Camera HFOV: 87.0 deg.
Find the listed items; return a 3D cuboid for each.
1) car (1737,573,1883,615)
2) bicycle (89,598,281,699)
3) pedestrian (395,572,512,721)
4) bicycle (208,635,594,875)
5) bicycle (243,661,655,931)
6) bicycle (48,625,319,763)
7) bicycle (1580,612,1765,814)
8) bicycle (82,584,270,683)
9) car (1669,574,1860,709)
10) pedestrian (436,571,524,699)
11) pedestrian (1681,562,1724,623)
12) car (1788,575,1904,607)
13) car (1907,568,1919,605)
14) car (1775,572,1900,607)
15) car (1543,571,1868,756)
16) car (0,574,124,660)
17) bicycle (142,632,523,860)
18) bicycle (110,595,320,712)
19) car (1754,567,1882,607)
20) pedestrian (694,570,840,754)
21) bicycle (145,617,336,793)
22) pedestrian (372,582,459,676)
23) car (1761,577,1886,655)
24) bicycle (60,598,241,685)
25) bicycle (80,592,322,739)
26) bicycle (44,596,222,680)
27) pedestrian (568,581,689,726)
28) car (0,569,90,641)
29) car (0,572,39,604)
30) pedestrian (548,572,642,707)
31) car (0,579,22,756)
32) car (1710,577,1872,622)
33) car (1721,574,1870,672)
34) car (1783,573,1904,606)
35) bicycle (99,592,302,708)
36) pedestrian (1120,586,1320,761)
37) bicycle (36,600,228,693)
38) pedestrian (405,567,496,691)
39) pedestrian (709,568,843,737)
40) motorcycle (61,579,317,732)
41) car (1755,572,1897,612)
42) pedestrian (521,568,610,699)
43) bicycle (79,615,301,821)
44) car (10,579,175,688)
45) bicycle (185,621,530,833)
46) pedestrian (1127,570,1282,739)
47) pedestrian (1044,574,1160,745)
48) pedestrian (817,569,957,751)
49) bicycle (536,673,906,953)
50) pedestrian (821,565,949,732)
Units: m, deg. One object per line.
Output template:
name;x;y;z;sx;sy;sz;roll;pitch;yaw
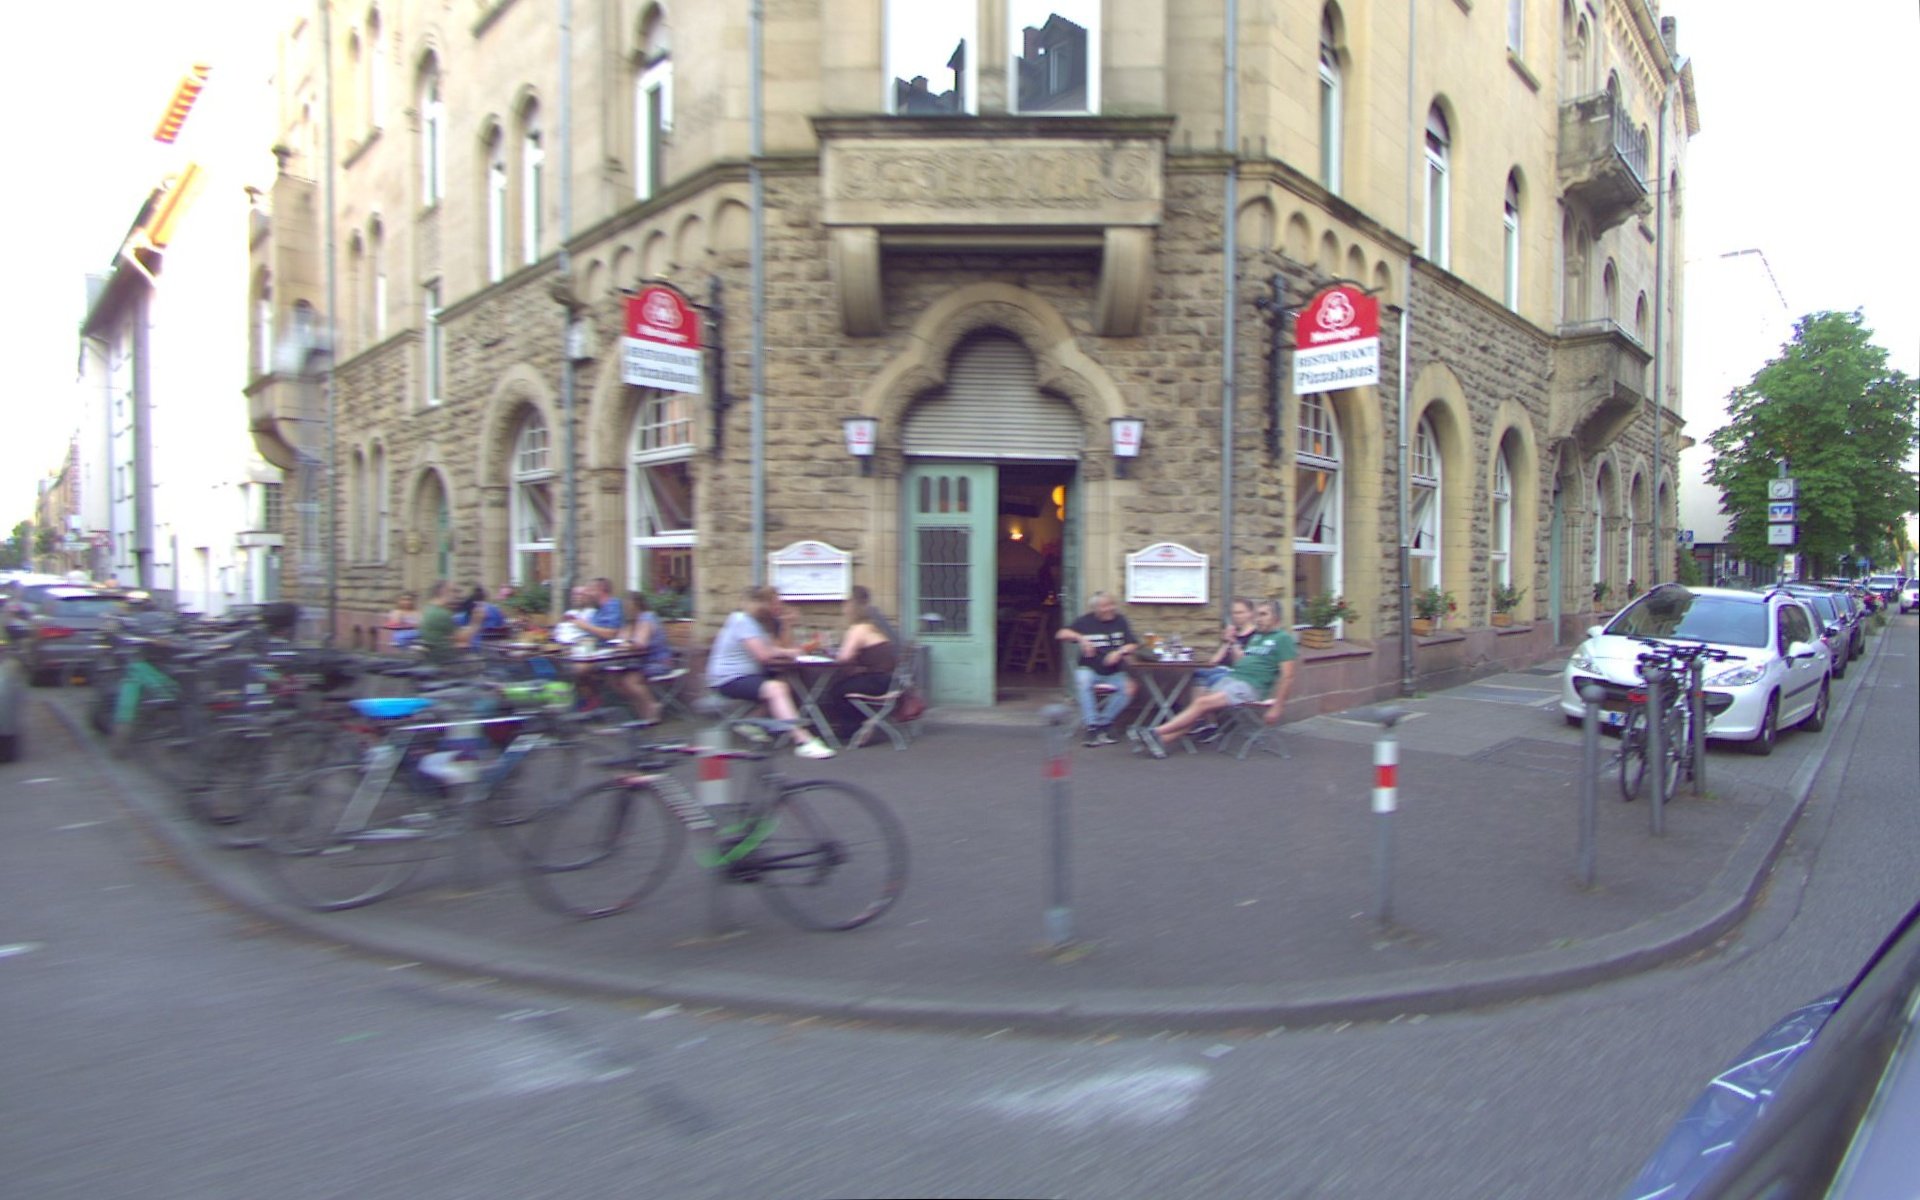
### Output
car;33.362;-0.282;39.815;4.291;1.547;1.794;2;2;44
bicycle;-9.487;0.552;12.447;0.543;1.120;1.808;1;2;41
pedestrian;-5.071;0.428;10.152;0.708;1.422;0.786;1;1;28
bicycle;-3.017;0.775;5.602;1.799;1.080;0.514;-1;1;-33
bicycle;-2.343;0.840;4.775;1.672;0.991;0.448;-1;1;-33
bicycle;-6.766;0.794;8.911;1.796;1.091;0.592;0;1;-15
bicycle;5.166;0.719;7.277;0.685;1.165;2.081;5;4;45
bicycle;-9.878;0.384;12.813;0.589;1.152;1.808;1;2;41
car;11.339;0.436;14.203;1.763;1.502;4.490;5;4;41
pedestrian;-5.566;0.376;11.739;0.758;1.413;0.617;-3;3;-42
pedestrian;22.450;-0.238;30.589;0.819;1.788;0.851;-1;2;-42
car;44.098;-0.484;50.418;4.291;1.547;1.794;2;2;44
car;47.428;-0.692;49.185;1.952;1.761;4.217;-2;0;44
car;40.775;-0.521;47.086;4.291;1.555;1.794;2;2;44
car;8.069;0.512;10.792;4.385;1.502;1.768;0;4;-40
car;-17.581;0.284;19.648;1.796;1.502;3.897;-1;1;-44
bicycle;-3.534;0.766;5.849;1.799;1.083;0.476;-1;1;-33
bicycle;-8.250;0.547;11.281;0.543;1.175;1.808;1;2;41
car;38.490;-0.622;45.449;4.291;1.697;1.794;2;2;44
pedestrian;-1.562;0.473;8.379;1.082;1.413;0.842;-1;2;-4
bicycle;-5.574;0.751;7.812;1.820;1.176;0.533;1;1;32
pedestrian;-7.584;0.376;14.095;0.923;1.242;0.810;1;1;41
car;19.262;0.268;22.505;1.765;1.502;4.484;3;3;44
bicycle;-10.694;0.515;13.421;0.543;1.042;1.808;1;2;41
bicycle;-7.393;0.580;9.946;0.581;1.278;1.811;1;1;36
bicycle;-11.218;0.479;13.783;0.543;1.042;1.808;1;2;41
pedestrian;-3.165;0.475;9.674;0.703;1.298;0.865;1;1;40
car;-20.793;0.093;22.759;1.795;1.502;3.899;-1;1;-42
car;-45.993;-0.600;49.200;1.795;1.502;3.900;-1;2;-42
pedestrian;-3.818;0.381;10.582;0.729;1.337;0.657;1;1;41
car;-9.723;0.539;9.099;1.853;1.401;4.028;-2;2;-43
car;29.067;-0.075;35.483;4.291;1.470;1.794;2;2;44
car;15.235;0.322;18.371;1.764;1.502;4.486;4;3;43
car;42.422;-0.538;48.654;4.291;1.547;1.794;2;2;44
bicycle;-8.710;0.531;11.674;0.543;1.209;1.808;1;2;41
pedestrian;2.086;0.567;8.300;1.393;1.301;0.841;1;2;2
bicycle;-10.362;0.545;12.724;0.543;1.042;1.808;1;2;41
pedestrian;-6.206;0.317;12.321;0.899;1.443;0.704;1;1;42
pedestrian;-1.617;0.437;9.084;1.082;1.413;0.842;-1;2;-4
motorcycle;-7.869;0.502;10.432;0.637;1.369;1.976;1;3;38
car;35.252;-0.362;41.259;4.291;1.547;1.794;2;2;44
pedestrian;-4.325;0.343;11.101;0.590;1.375;0.727;1;1;41
bicycle;-5.160;0.715;6.746;1.820;1.165;0.552;1;1;31
car;-13.808;0.449;16.047;1.796;1.502;3.898;-1;1;-43
bicycle;-3.713;0.726;6.364;1.799;1.125;0.503;-1;1;-33
pedestrian;2.173;0.459;9.126;1.082;1.413;0.843;2;2;-6
pedestrian;1.224;0.484;8.949;0.880;1.414;1.011;1;1;2
pedestrian;-0.614;0.460;8.454;1.082;1.413;0.843;-1;2;-5
bicycle;-0.970;0.859;4.245;1.449;1.052;0.432;0;1;4
pedestrian;-0.680;0.404;9.158;1.082;1.413;0.843;-1;2;-5
